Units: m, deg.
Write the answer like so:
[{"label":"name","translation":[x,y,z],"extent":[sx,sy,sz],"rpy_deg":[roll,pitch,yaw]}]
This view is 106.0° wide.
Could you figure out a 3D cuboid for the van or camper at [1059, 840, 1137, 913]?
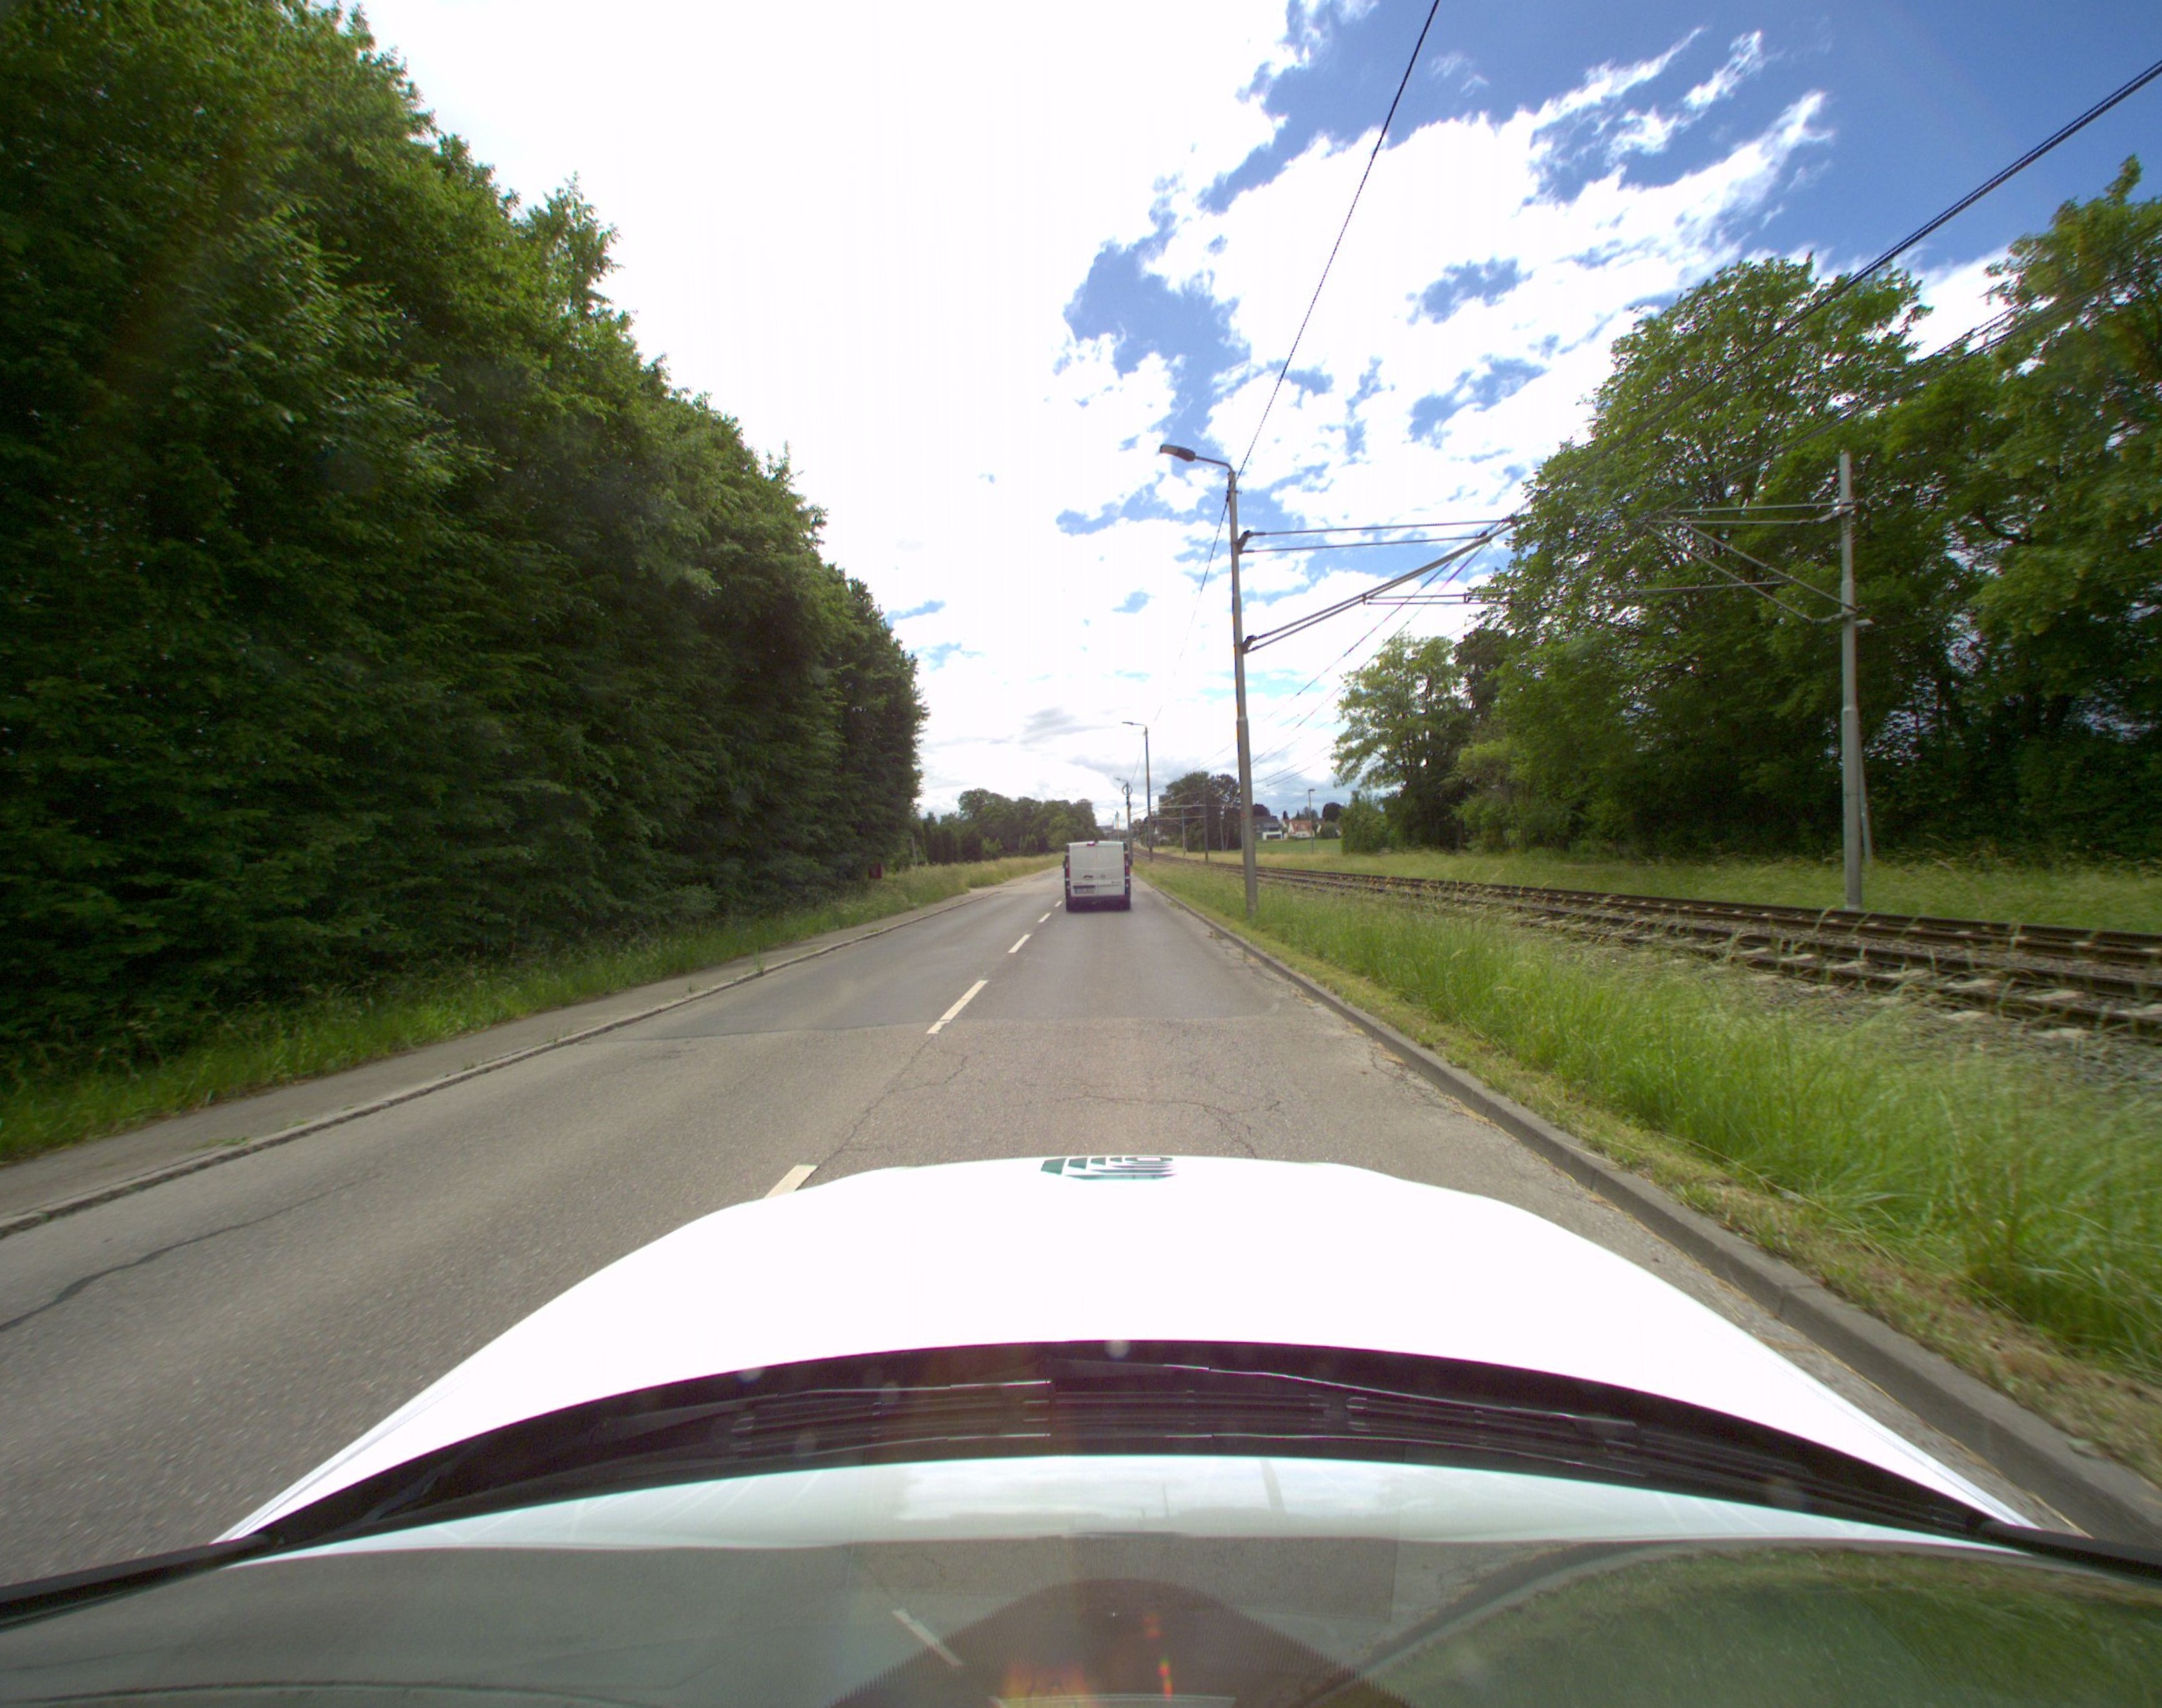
[{"label":"van or camper","translation":[0.607,0.644,24.476],"extent":[1.932,1.897,4.291],"rpy_deg":[-3,-1,5]}]
